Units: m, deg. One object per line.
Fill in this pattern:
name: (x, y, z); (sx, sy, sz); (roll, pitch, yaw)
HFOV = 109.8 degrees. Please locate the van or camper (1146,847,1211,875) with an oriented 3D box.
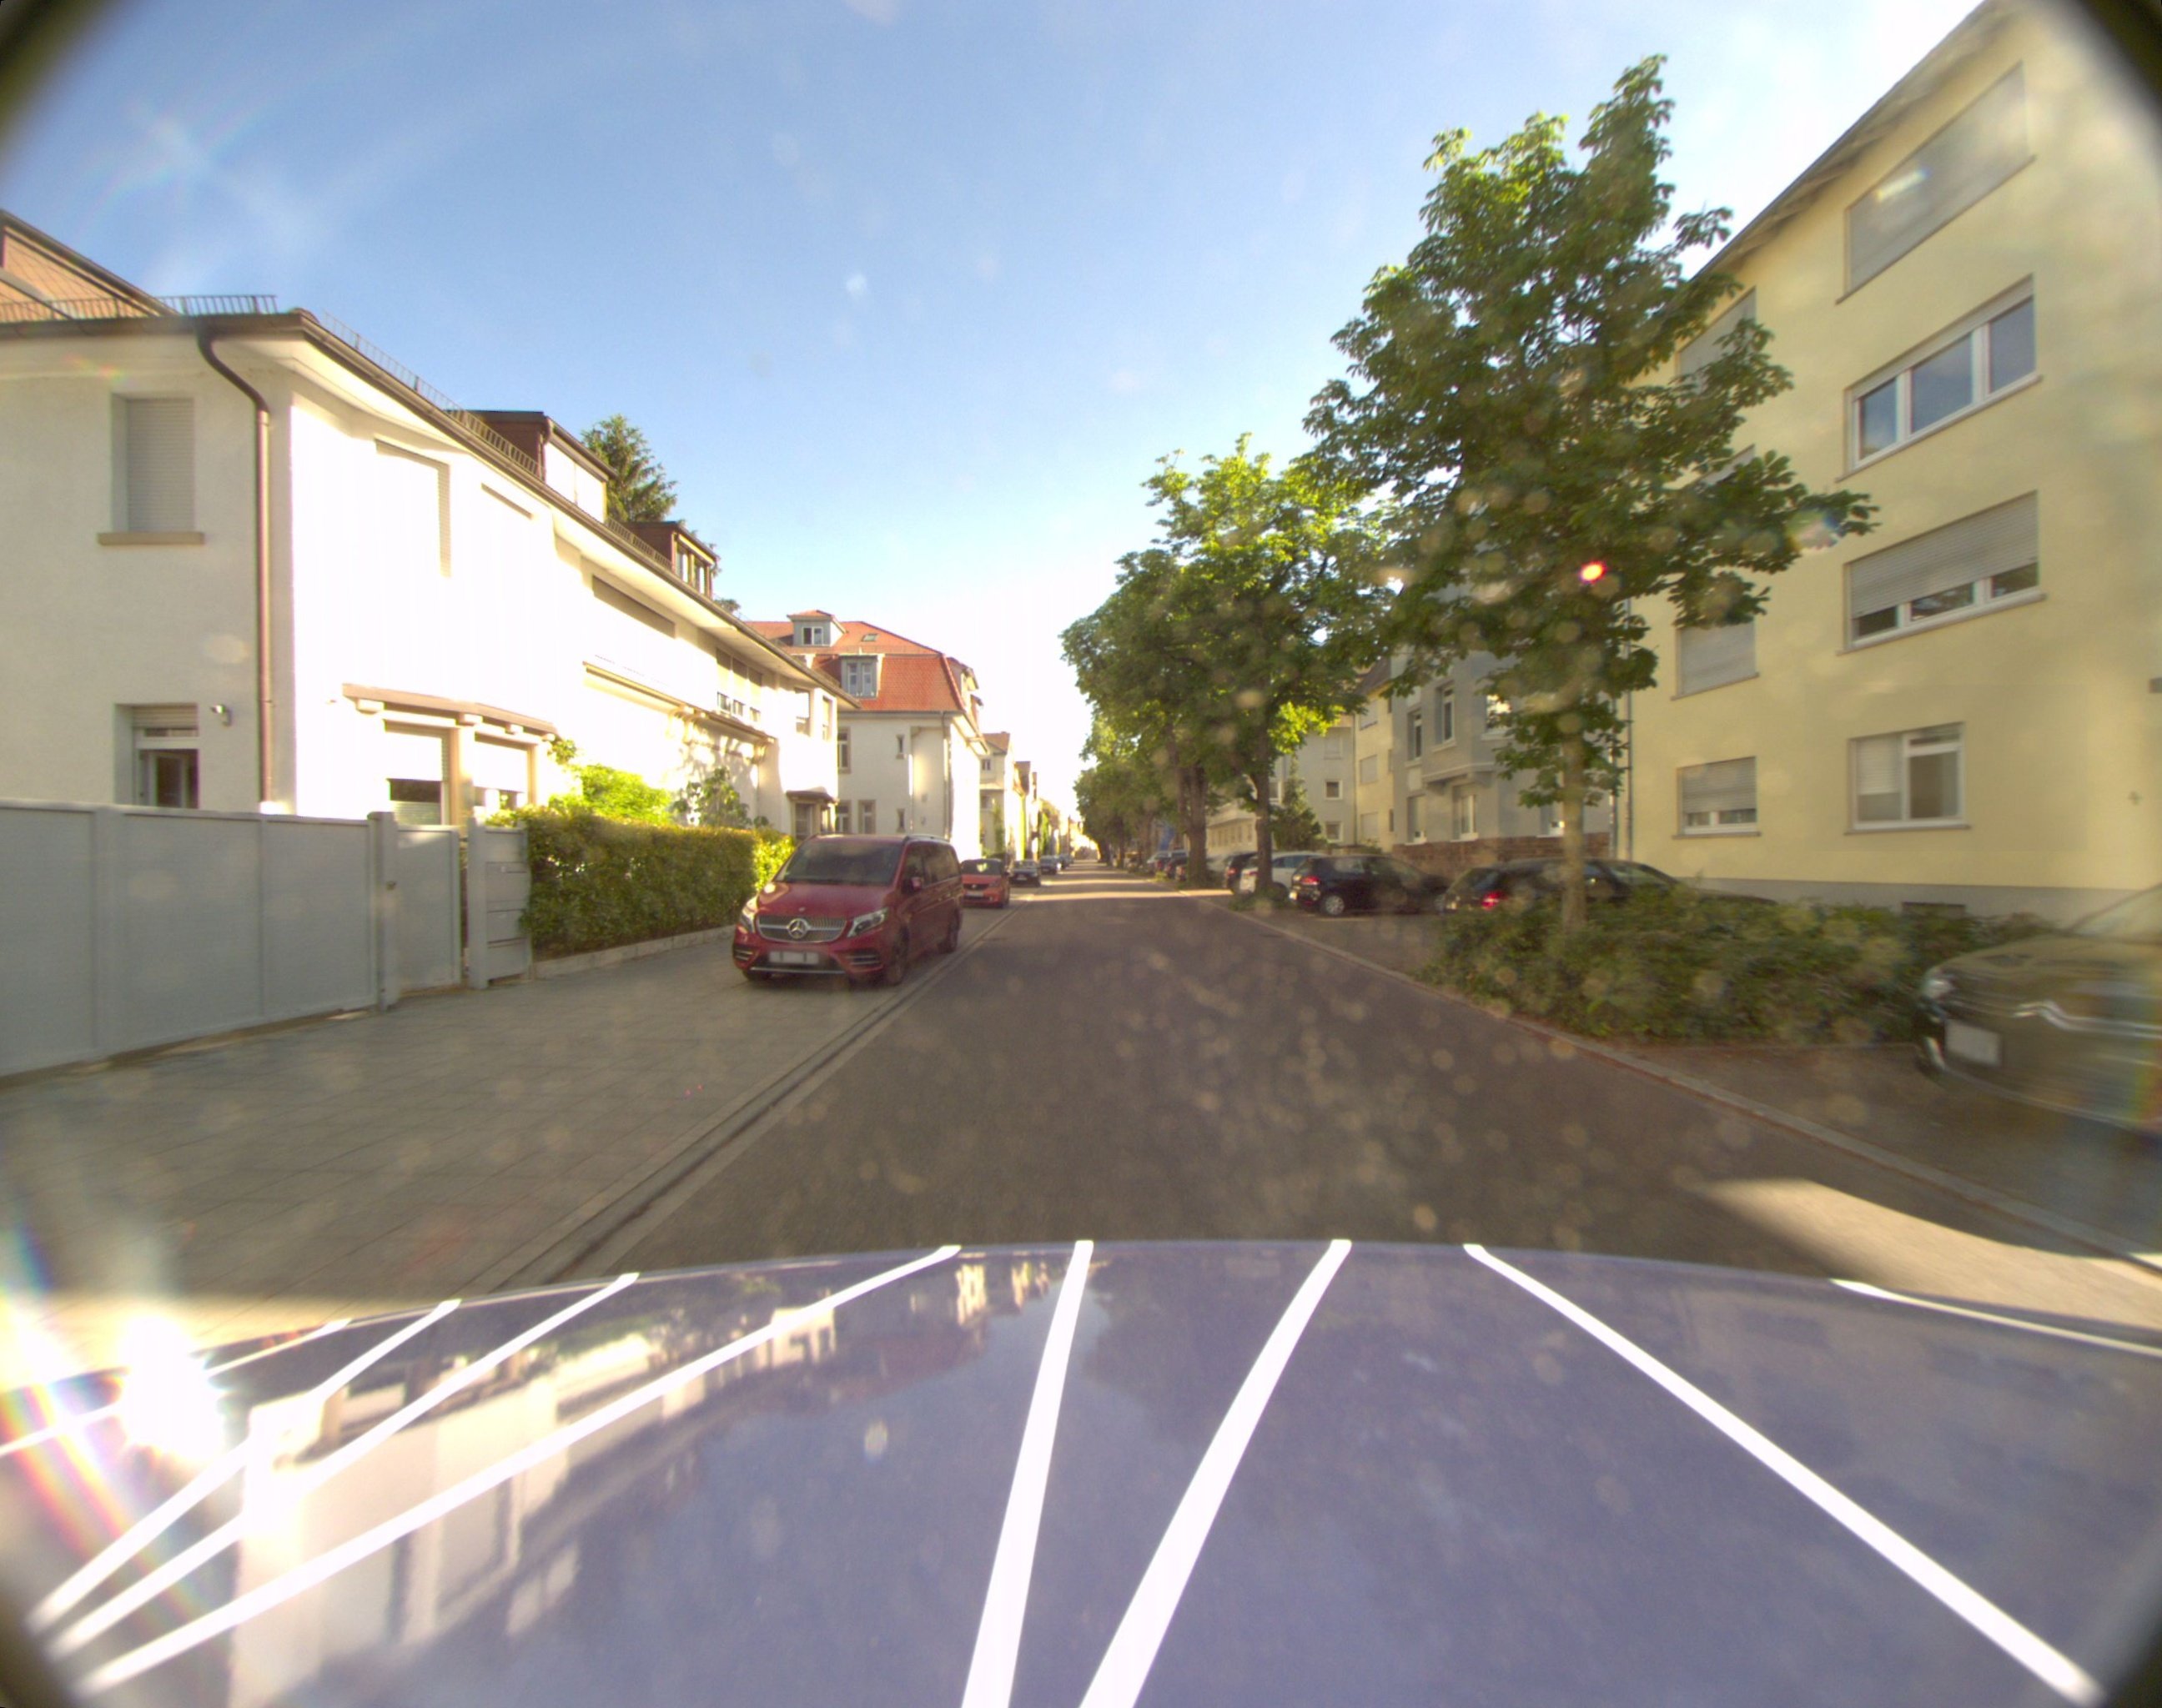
van or camper: (7.055, 0.508, 55.210); (4.508, 1.903, 1.964); (-1, 1, 0)

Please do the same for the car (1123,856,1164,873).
car: (6.461, 1.082, 79.218); (3.883, 1.505, 1.831); (-3, 1, -9)

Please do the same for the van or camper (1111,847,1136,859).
van or camper: (7.061, -0.166, 126.075); (3.954, 1.763, 1.809); (-1, -1, -1)

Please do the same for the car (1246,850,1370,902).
car: (7.567, 0.717, 25.519); (3.525, 1.566, 1.770); (-2, 0, -5)

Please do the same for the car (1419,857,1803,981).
car: (7.056, 0.834, 10.430); (3.997, 1.413, 1.771); (-2, -1, -1)

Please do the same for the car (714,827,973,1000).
car: (-2.996, 0.619, 10.970); (1.876, 1.894, 5.198); (1, 1, 3)

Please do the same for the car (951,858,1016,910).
car: (-3.023, 0.905, 23.995); (1.596, 1.472, 3.247); (1, 0, 0)

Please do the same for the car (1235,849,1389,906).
car: (6.852, 0.685, 22.847); (4.033, 1.476, 1.807); (-3, 0, 0)

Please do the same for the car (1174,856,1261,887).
car: (6.690, 0.829, 37.618); (3.997, 1.460, 1.697); (0, 0, 0)

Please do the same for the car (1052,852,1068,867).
car: (-2.601, 0.642, 94.511); (1.782, 1.686, 4.319); (-3, 1, 1)

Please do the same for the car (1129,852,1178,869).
car: (7.146, 0.655, 75.509); (4.601, 1.598, 1.832); (-1, 0, -3)

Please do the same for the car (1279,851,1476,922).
car: (7.078, 0.742, 18.408); (4.032, 1.436, 1.799); (-3, 1, 1)

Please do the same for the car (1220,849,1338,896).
car: (7.261, 0.671, 28.161); (3.872, 1.566, 1.848); (-2, 0, 3)

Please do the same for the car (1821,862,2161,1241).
car: (6.691, 0.815, 3.739); (4.183, 1.492, 1.999); (-3, 1, -1)

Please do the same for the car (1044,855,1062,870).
car: (-2.836, 0.828, 78.273); (1.713, 1.428, 4.192); (1, 1, 0)

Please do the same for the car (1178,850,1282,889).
car: (6.774, 0.690, 34.906); (4.397, 1.642, 1.823); (-1, 0, 1)

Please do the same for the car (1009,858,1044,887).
car: (-2.828, 0.936, 39.924); (1.624, 1.431, 3.934); (2, 0, -1)

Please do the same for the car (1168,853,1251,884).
car: (6.724, 0.725, 40.086); (3.997, 1.583, 1.878); (0, 0, -2)

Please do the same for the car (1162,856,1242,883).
car: (6.783, 0.858, 42.935); (4.198, 1.490, 1.861); (0, 0, -1)

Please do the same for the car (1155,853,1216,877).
car: (7.166, 0.754, 52.423); (3.955, 1.490, 1.662); (-2, 0, 2)

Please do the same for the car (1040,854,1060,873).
car: (-2.671, 0.820, 65.918); (1.667, 1.511, 3.999); (1, 1, -3)
